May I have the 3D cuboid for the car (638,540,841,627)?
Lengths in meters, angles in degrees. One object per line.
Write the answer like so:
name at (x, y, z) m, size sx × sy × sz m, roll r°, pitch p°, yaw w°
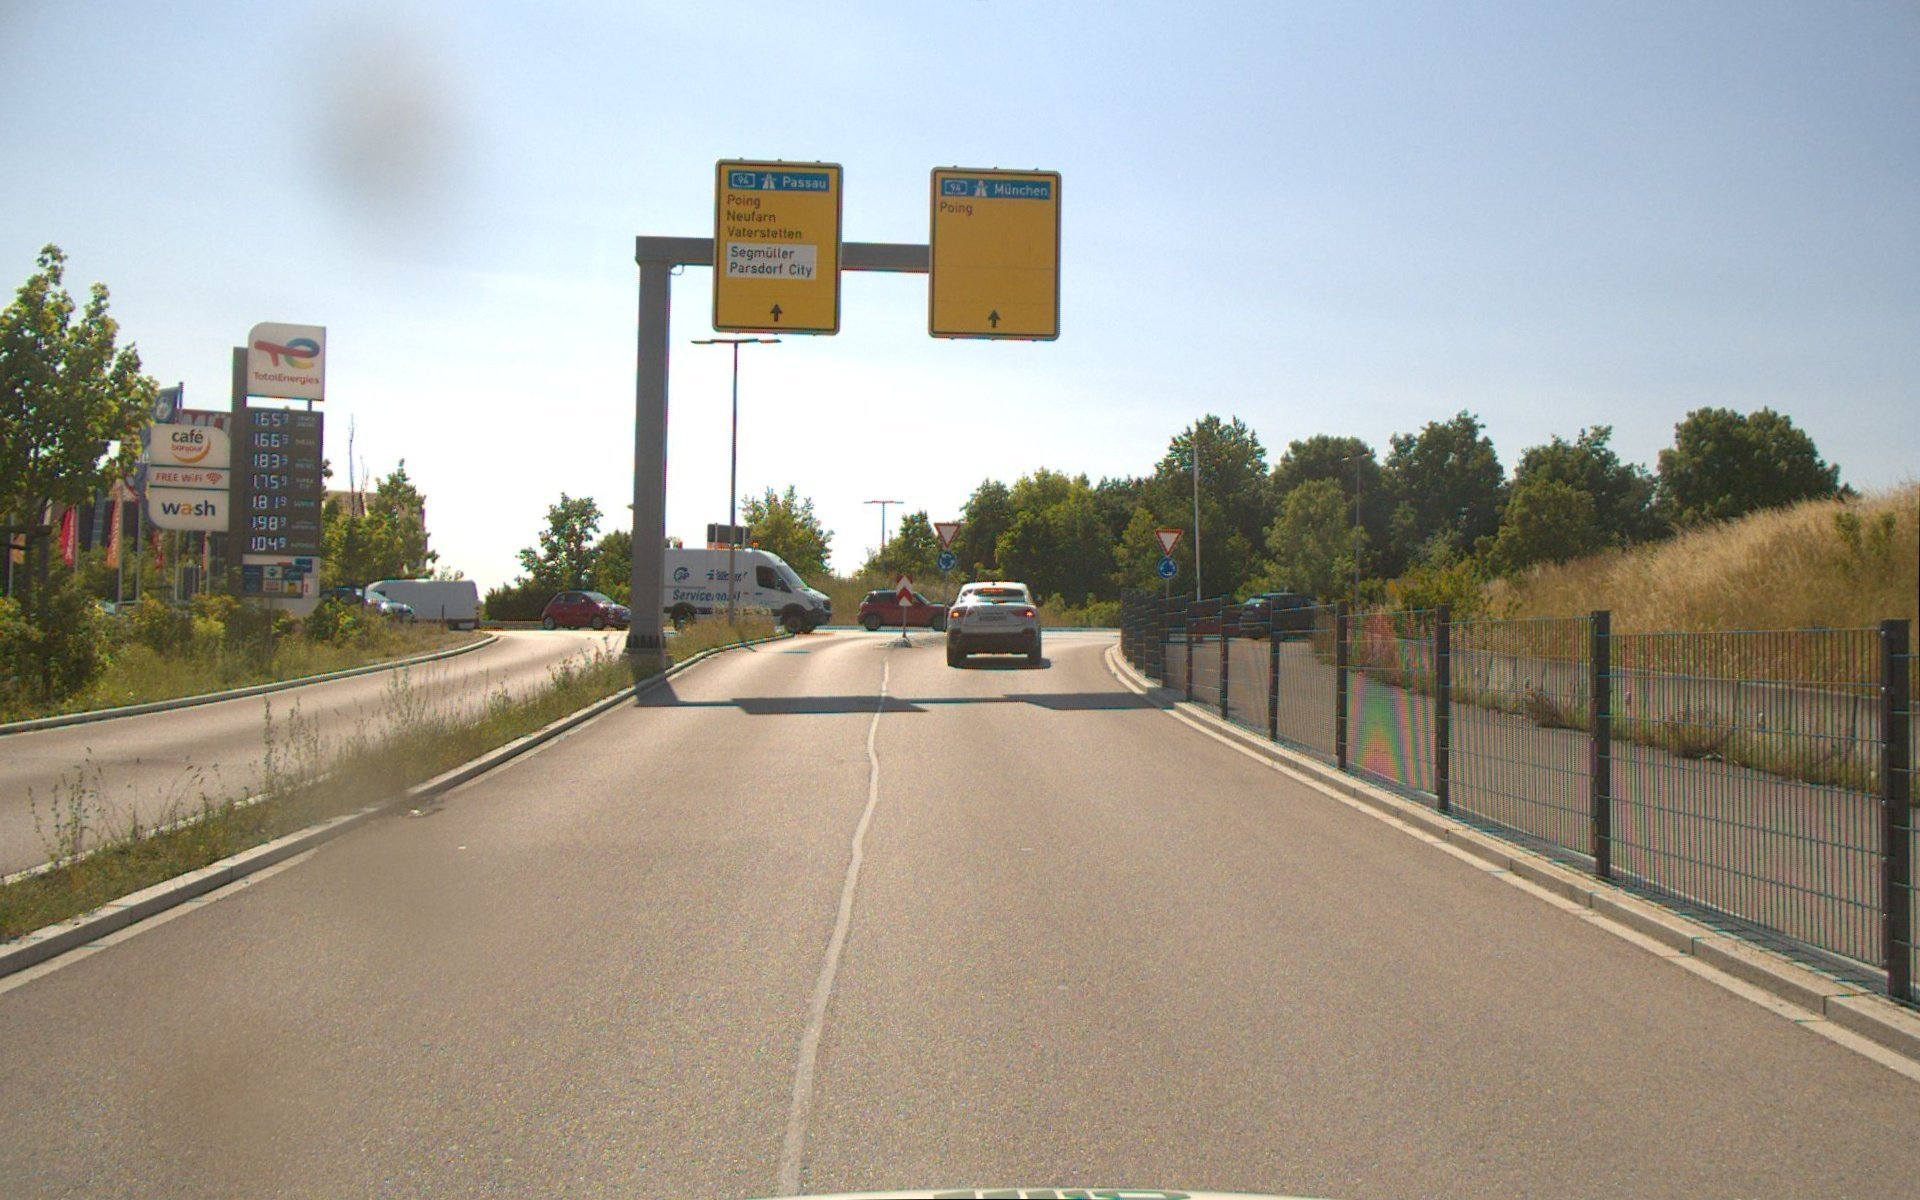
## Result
car at (-7.059, -0.526, 53.166) m, size 6.041 × 2.599 × 2.092 m, roll 1°, pitch -1°, yaw 9°

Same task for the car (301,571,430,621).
car at (-21.139, -0.129, 58.915) m, size 3.866 × 1.646 × 1.819 m, roll 1°, pitch -1°, yaw 3°

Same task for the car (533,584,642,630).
car at (-14.146, 0.264, 62.844) m, size 3.649 × 1.646 × 1.872 m, roll 1°, pitch -1°, yaw 25°

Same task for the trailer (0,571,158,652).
trailer at (-20.974, 0.282, 38.708) m, size 3.658 × 1.803 × 1.783 m, roll 2°, pitch -1°, yaw -38°

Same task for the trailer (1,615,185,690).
trailer at (-16.298, 0.987, 31.210) m, size 2.859 × 1.345 × 1.382 m, roll 2°, pitch -1°, yaw -19°

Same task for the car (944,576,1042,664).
car at (0.642, 0.379, 32.849) m, size 1.803 × 1.624 × 4.325 m, roll 0°, pitch 0°, yaw 1°

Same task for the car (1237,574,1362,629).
car at (11.544, 0.064, 56.435) m, size 3.769 × 1.747 × 1.998 m, roll 1°, pitch -1°, yaw -4°

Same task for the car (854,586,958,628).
car at (-1.980, 0.246, 60.470) m, size 3.729 × 1.430 × 1.625 m, roll 1°, pitch -1°, yaw -3°

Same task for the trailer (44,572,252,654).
trailer at (-17.302, 0.299, 35.302) m, size 3.658 × 1.477 × 1.685 m, roll 5°, pitch -3°, yaw -38°

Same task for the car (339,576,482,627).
car at (-26.263, 0.083, 79.212) m, size 6.207 × 2.273 × 2.013 m, roll 2°, pitch -1°, yaw -37°

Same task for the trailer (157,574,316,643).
trailer at (-19.539, 0.200, 44.704) m, size 3.659 × 1.803 × 1.783 m, roll -1°, pitch 1°, yaw -38°
